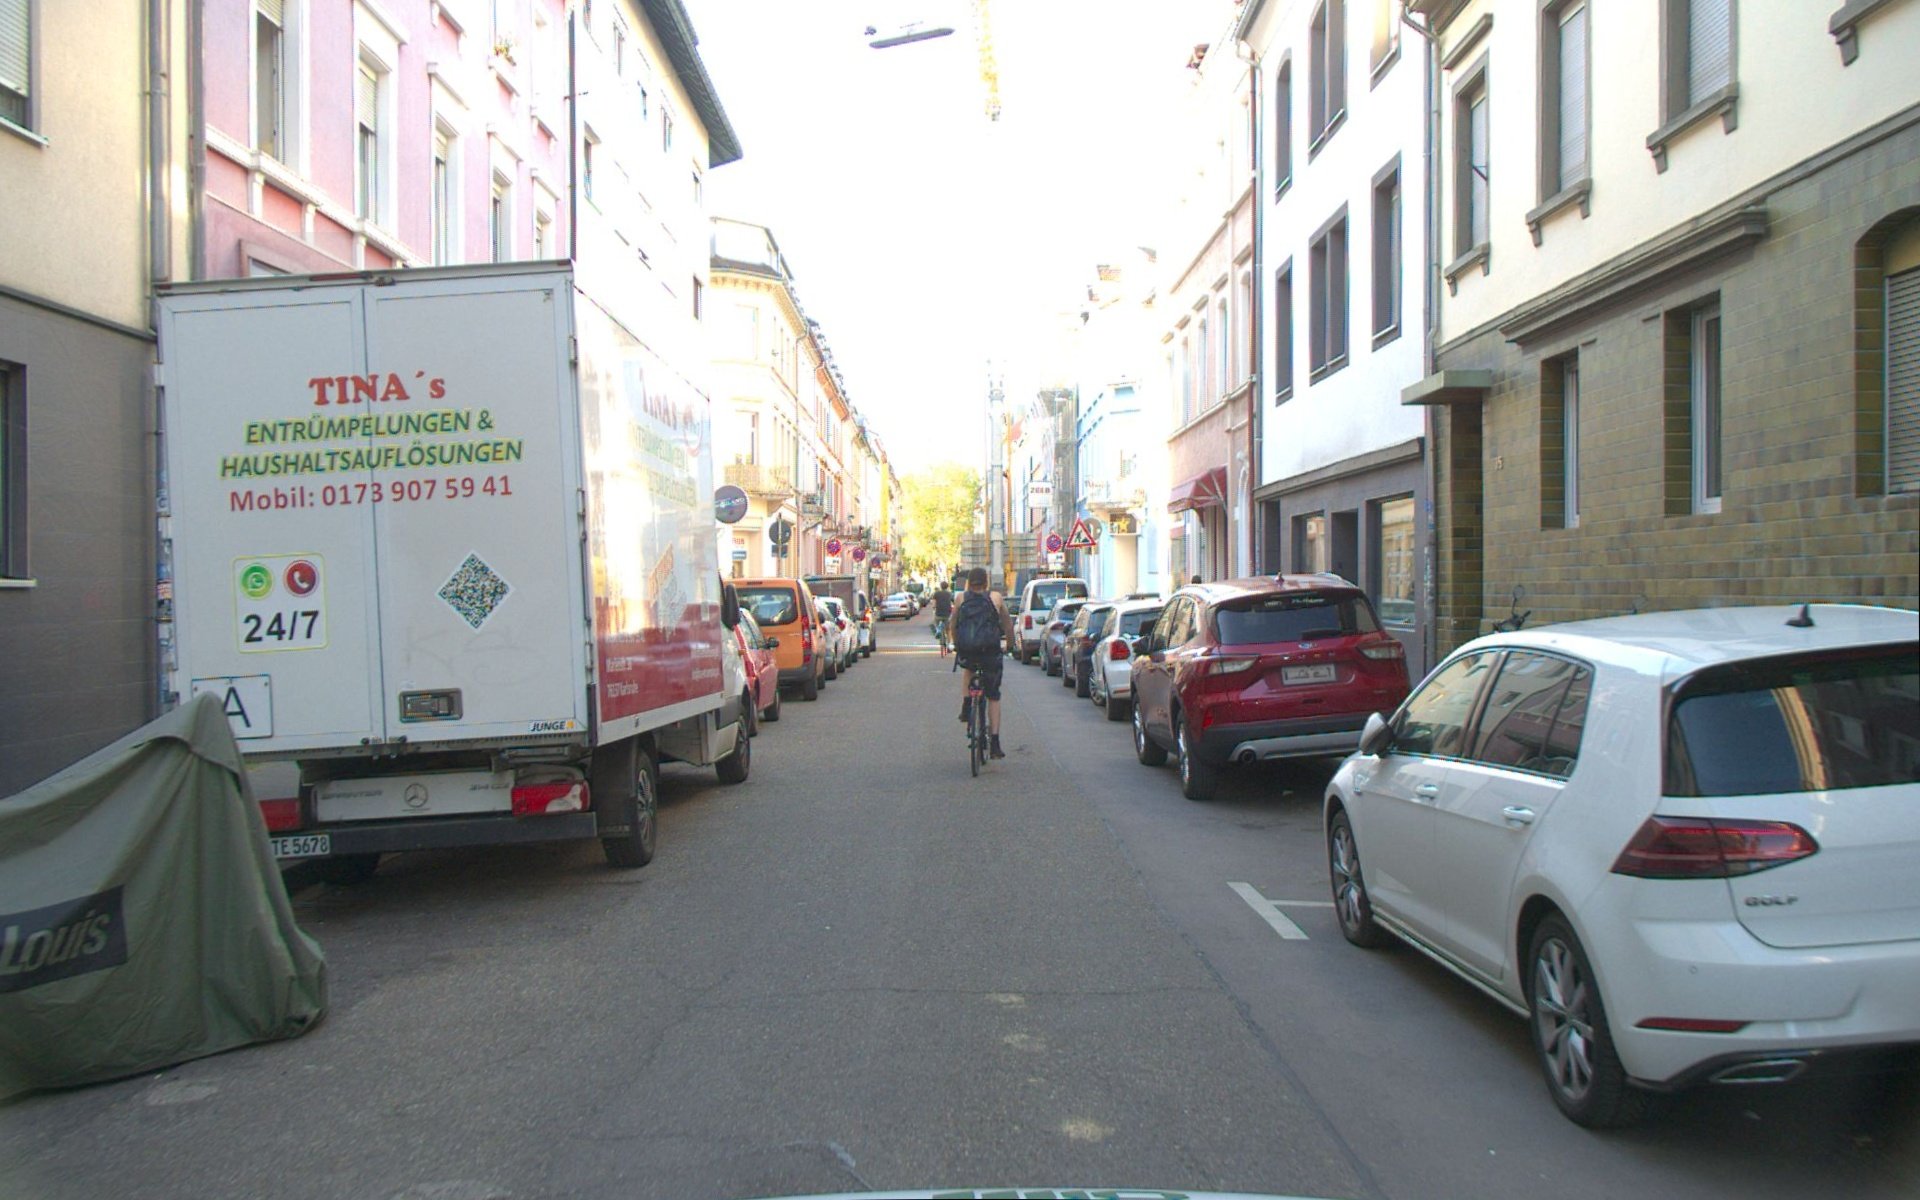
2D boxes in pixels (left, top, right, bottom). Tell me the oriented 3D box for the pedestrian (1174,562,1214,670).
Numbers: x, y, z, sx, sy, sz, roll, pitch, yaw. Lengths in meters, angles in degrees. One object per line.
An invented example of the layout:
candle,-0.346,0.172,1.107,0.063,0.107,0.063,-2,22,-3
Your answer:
pedestrian,4.474,0.308,31.697,0.631,2.049,0.763,1,0,-1

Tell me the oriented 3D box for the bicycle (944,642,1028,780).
bicycle,0.208,0.951,14.772,0.663,1.093,1.941,1,0,-1

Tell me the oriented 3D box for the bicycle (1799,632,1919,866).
bicycle,5.229,0.786,8.932,0.510,1.194,1.685,1,0,-1

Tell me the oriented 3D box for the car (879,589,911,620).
car,-3.686,0.272,94.498,1.714,1.713,3.795,-1,0,-1

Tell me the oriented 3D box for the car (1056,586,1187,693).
car,2.572,0.605,27.109,1.613,1.500,3.970,-4,0,-1

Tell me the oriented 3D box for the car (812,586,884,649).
car,-3.029,0.462,45.354,1.714,1.600,3.795,-1,0,-1

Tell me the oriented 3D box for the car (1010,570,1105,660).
car,2.175,0.343,37.910,1.715,1.911,3.970,-1,0,-3

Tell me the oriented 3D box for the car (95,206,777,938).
car,-2.857,-0.127,11.348,2.296,3.349,7.153,-2,0,0

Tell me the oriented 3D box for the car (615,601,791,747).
car,-2.996,0.815,19.899,1.546,1.509,3.564,-3,0,-1

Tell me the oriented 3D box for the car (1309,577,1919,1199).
car,2.606,0.739,6.109,1.652,1.570,4.045,-2,0,-1

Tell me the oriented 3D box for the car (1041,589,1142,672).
car,2.557,0.574,32.852,1.714,1.513,3.800,-1,0,1

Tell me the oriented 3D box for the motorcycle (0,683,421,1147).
motorcycle,-2.943,0.988,5.447,0.777,1.275,2.096,-2,0,40

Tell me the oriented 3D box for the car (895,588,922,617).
car,-3.456,0.188,111.924,1.714,1.853,3.795,-1,0,-1

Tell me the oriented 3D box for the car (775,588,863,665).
car,-3.043,0.560,36.255,1.620,1.564,3.633,-1,0,-1

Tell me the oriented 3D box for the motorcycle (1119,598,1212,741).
motorcycle,2.311,0.748,18.859,0.731,1.516,2.421,1,0,0

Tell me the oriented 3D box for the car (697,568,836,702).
car,-2.928,0.505,25.759,1.717,1.848,4.077,-2,0,-1

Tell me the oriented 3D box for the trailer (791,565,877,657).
trailer,-3.081,0.257,41.039,1.843,2.129,3.736,-1,0,-1

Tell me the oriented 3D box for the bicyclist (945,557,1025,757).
bicyclist,0.213,0.492,14.715,0.654,1.706,1.097,1,0,-1

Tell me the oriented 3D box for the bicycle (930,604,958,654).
bicycle,-0.391,0.681,39.665,0.635,1.149,2.135,1,0,-1

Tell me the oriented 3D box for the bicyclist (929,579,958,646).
bicyclist,-0.392,0.301,39.624,0.657,1.595,0.716,1,0,-2

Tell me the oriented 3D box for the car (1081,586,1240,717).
car,2.625,0.643,22.443,1.633,1.531,3.816,-3,0,0

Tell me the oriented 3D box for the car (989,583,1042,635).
car,1.811,0.312,55.218,1.578,1.662,3.609,1,0,-1

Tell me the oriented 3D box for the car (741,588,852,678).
car,-3.037,0.590,31.415,1.714,1.564,4.318,-1,0,-1

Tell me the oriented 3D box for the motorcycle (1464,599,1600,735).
motorcycle,5.092,0.566,14.827,0.491,1.114,1.878,-3,0,-1

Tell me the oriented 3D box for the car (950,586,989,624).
car,0.389,0.222,71.513,1.578,1.587,3.609,1,0,-1

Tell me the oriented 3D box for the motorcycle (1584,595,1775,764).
motorcycle,5.222,0.542,12.119,0.547,1.114,1.776,-3,0,-1

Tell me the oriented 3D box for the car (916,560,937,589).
car,-2.846,-2.136,141.314,1.714,2.358,3.795,-1,0,-1

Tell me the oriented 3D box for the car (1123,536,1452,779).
car,2.595,0.404,14.203,1.879,1.735,4.365,-1,0,-1
